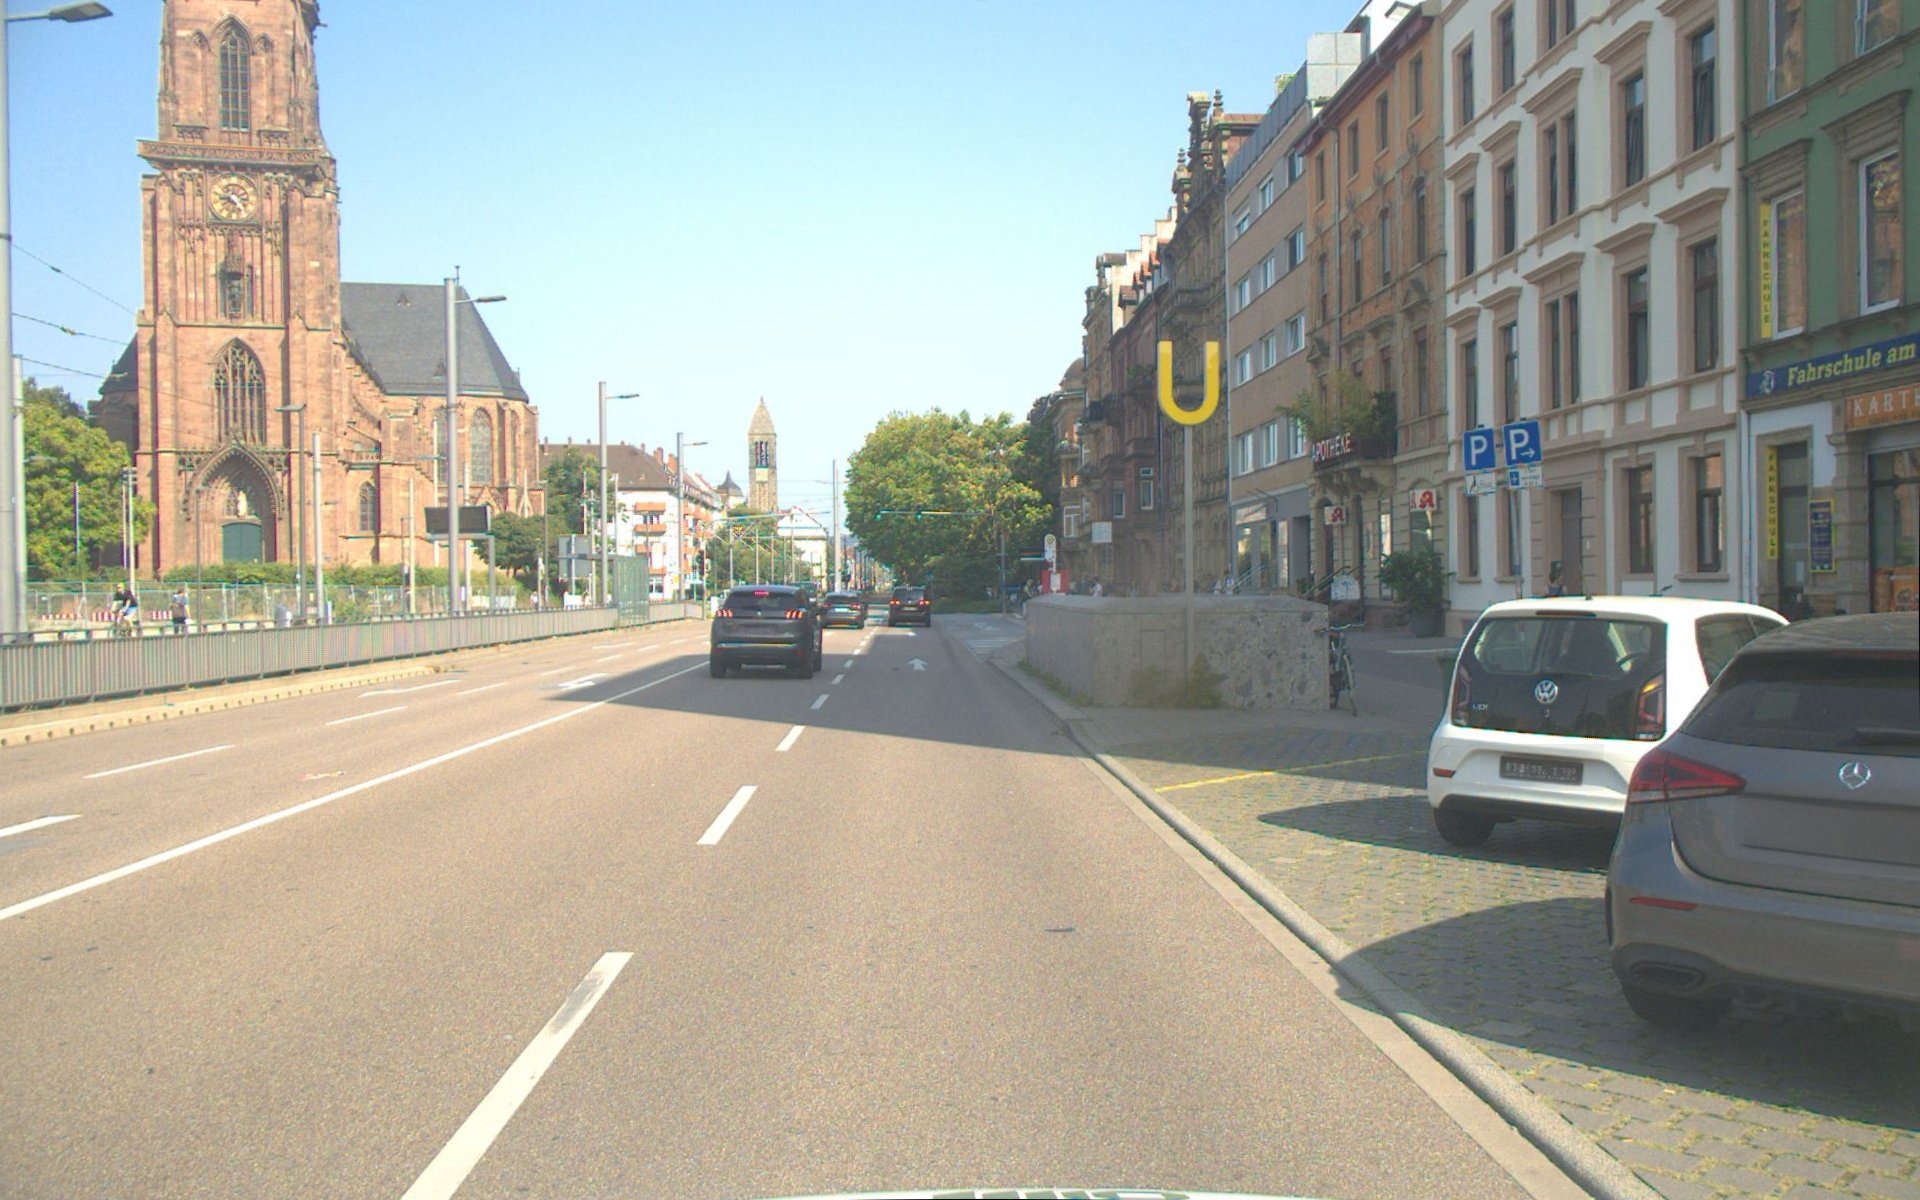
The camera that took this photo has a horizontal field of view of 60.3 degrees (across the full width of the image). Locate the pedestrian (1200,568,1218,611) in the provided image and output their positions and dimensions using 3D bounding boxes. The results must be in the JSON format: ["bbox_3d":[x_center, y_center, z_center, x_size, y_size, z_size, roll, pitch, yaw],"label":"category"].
[{"bbox_3d":[10.313,-0.434,68.491,0.591,1.761,0.510,-1,0,-5],"label":"pedestrian"}]

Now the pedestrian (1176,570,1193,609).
[{"bbox_3d":[9.814,-0.447,72.413,0.591,1.683,0.586,-1,0,-5],"label":"pedestrian"}]

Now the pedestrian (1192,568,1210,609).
[{"bbox_3d":[10.235,-0.489,70.294,0.591,1.721,0.586,-1,0,-5],"label":"pedestrian"}]

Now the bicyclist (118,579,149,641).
[{"bbox_3d":[-24.012,0.273,48.050,0.477,1.777,0.819,-1,0,-1],"label":"bicyclist"}]

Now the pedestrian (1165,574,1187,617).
[{"bbox_3d":[8.364,-0.173,64.001,0.705,1.638,0.856,-1,0,-1],"label":"pedestrian"}]

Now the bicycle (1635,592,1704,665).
[{"bbox_3d":[11.819,0.456,27.593,0.375,1.154,1.719,-1,1,-1],"label":"bicycle"}]

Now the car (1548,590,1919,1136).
[{"bbox_3d":[4.039,0.689,6.057,4.375,1.448,1.818,-1,0,-44],"label":"car"}]

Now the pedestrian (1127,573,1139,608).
[{"bbox_3d":[8.272,-0.451,79.022,0.476,1.638,0.812,-1,0,-1],"label":"pedestrian"}]

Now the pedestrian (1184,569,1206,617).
[{"bbox_3d":[9.106,-0.267,64.013,0.705,1.818,0.856,-1,0,-1],"label":"pedestrian"}]

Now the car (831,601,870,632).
[{"bbox_3d":[-5.558,0.807,84.203,1.826,1.449,4.356,0,1,-2],"label":"car"}]

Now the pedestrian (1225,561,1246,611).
[{"bbox_3d":[10.364,-0.524,62.279,0.591,1.863,0.741,-1,0,-5],"label":"pedestrian"}]

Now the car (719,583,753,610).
[{"bbox_3d":[-14.467,-0.215,106.952,1.679,1.639,4.503,-2,1,-2],"label":"car"}]

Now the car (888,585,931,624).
[{"bbox_3d":[-2.185,0.171,72.108,1.794,1.649,4.356,0,1,-2],"label":"car"}]

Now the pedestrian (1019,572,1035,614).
[{"bbox_3d":[2.870,-0.304,71.053,0.554,1.759,0.744,-1,0,-5],"label":"pedestrian"}]

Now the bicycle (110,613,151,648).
[{"bbox_3d":[-24.053,0.872,47.977,0.343,0.970,1.695,-1,1,-1],"label":"bicycle"}]

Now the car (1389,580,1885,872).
[{"bbox_3d":[4.303,0.633,10.277,3.501,1.489,1.597,-1,0,-44],"label":"car"}]

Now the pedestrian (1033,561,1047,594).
[{"bbox_3d":[4.129,-1.184,85.563,0.676,1.693,0.619,-1,0,-2],"label":"pedestrian"}]

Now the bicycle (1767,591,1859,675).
[{"bbox_3d":[12.175,0.450,23.661,0.375,1.154,1.719,-1,1,-1],"label":"bicycle"}]

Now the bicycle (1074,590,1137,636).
[{"bbox_3d":[3.873,0.342,44.055,1.599,1.168,0.601,-1,0,0],"label":"bicycle"}]

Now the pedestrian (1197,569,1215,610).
[{"bbox_3d":[10.330,-0.443,69.511,0.591,1.721,0.586,-1,0,-5],"label":"pedestrian"}]

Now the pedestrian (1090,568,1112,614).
[{"bbox_3d":[5.545,-0.361,65.099,0.735,1.759,0.800,-1,0,-5],"label":"pedestrian"}]

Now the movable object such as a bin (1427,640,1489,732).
[{"bbox_3d":[5.202,0.894,17.282,0.479,0.919,0.537,-1,0,1],"label":"movable object such as a bin"}]

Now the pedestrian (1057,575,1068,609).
[{"bbox_3d":[5.268,-0.411,85.118,0.472,1.731,0.702,-1,0,-5],"label":"pedestrian"}]

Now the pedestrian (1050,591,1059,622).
[{"bbox_3d":[3.881,0.261,68.103,0.270,1.296,0.447,-1,0,-9],"label":"pedestrian"}]

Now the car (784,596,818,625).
[{"bbox_3d":[-9.014,0.567,93.954,1.706,1.553,3.871,-1,1,-3],"label":"car"}]

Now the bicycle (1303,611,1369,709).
[{"bbox_3d":[4.751,0.731,20.982,0.375,1.154,1.790,-1,1,-1],"label":"bicycle"}]

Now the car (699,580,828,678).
[{"bbox_3d":[-3.522,0.466,30.378,1.953,1.649,4.356,0,1,-2],"label":"car"}]

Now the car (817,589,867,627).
[{"bbox_3d":[-4.766,0.281,67.076,1.826,1.449,4.356,0,1,-2],"label":"car"}]

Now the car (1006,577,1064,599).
[{"bbox_3d":[5.632,-0.886,125.034,4.100,1.590,1.997,-1,1,-6],"label":"car"}]

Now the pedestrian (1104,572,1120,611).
[{"bbox_3d":[7.272,-0.389,79.025,0.604,1.835,1.071,-1,0,-1],"label":"pedestrian"}]

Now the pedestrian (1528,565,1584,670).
[{"bbox_3d":[9.553,0.270,26.520,0.596,1.657,0.737,-1,0,-2],"label":"pedestrian"}]

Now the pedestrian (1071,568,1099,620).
[{"bbox_3d":[4.617,-0.227,61.040,0.907,1.863,0.800,-1,0,-5],"label":"pedestrian"}]

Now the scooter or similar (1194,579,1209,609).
[{"bbox_3d":[9.819,-0.251,67.323,0.353,1.183,1.151,-1,1,-4],"label":"scooter or similar"}]

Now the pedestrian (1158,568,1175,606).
[{"bbox_3d":[9.501,-0.594,76.104,0.617,1.749,0.690,-1,0,-2],"label":"pedestrian"}]

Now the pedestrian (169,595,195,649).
[{"bbox_3d":[-25.384,0.717,53.983,0.507,1.730,0.664,-1,0,-3],"label":"pedestrian"}]
